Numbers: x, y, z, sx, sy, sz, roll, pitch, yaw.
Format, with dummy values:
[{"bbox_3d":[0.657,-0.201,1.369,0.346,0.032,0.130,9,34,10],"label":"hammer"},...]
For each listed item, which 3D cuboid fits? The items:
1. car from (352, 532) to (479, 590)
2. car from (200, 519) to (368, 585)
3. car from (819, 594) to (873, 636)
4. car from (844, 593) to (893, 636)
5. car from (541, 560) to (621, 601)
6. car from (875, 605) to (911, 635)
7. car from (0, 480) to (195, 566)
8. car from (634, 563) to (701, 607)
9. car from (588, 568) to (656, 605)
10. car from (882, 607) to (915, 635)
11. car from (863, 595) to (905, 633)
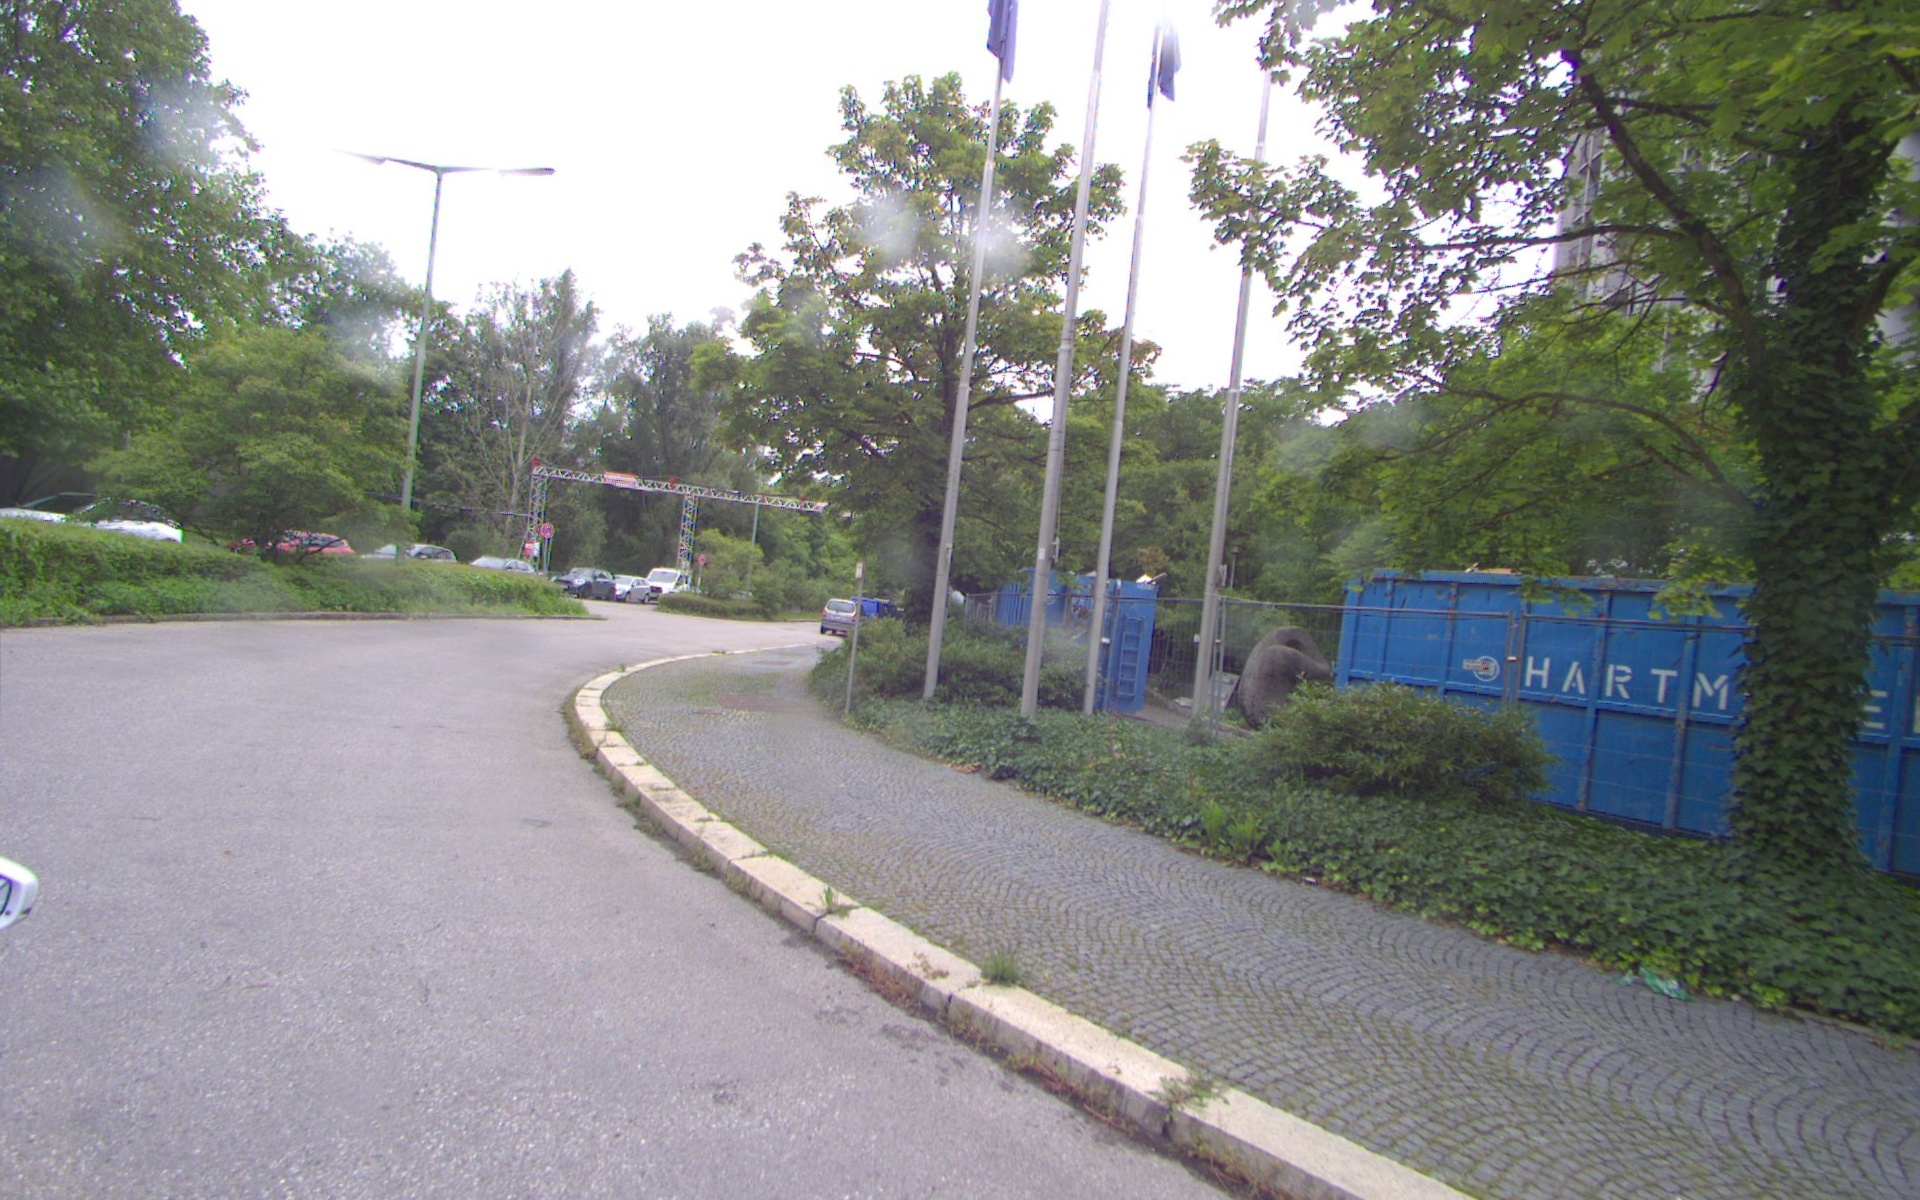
[{"bbox_3d":[-19.468,-1.354,36.164,1.962,1.593,4.002,7,-1,6],"label":"car"},{"bbox_3d":[-20.121,-1.379,30.180,1.962,1.426,4.002,7,-1,6],"label":"car"},{"bbox_3d":[-5.153,0.715,45.865,1.701,1.631,4.001,7,-1,2],"label":"car"},{"bbox_3d":[-4.603,0.763,51.262,1.701,1.913,4.329,7,-1,3],"label":"car"},{"bbox_3d":[-18.446,-0.911,49.155,1.962,1.593,4.002,7,-1,6],"label":"car"},{"bbox_3d":[-4.176,1.250,63.563,1.701,1.631,4.001,7,-1,2],"label":"car"},{"bbox_3d":[-20.829,-1.801,23.845,1.962,1.526,4.002,7,-1,6],"label":"car"},{"bbox_3d":[-17.409,-0.844,60.139,2.164,2.254,4.872,7,-1,3],"label":"car"},{"bbox_3d":[-18.158,-0.689,54.191,1.962,1.593,4.002,7,-1,3],"label":"car"},{"bbox_3d":[-4.154,1.440,68.220,1.701,1.631,4.001,7,-1,2],"label":"car"},{"bbox_3d":[-4.356,0.845,58.101,1.701,1.913,4.329,7,-1,3],"label":"car"}]
